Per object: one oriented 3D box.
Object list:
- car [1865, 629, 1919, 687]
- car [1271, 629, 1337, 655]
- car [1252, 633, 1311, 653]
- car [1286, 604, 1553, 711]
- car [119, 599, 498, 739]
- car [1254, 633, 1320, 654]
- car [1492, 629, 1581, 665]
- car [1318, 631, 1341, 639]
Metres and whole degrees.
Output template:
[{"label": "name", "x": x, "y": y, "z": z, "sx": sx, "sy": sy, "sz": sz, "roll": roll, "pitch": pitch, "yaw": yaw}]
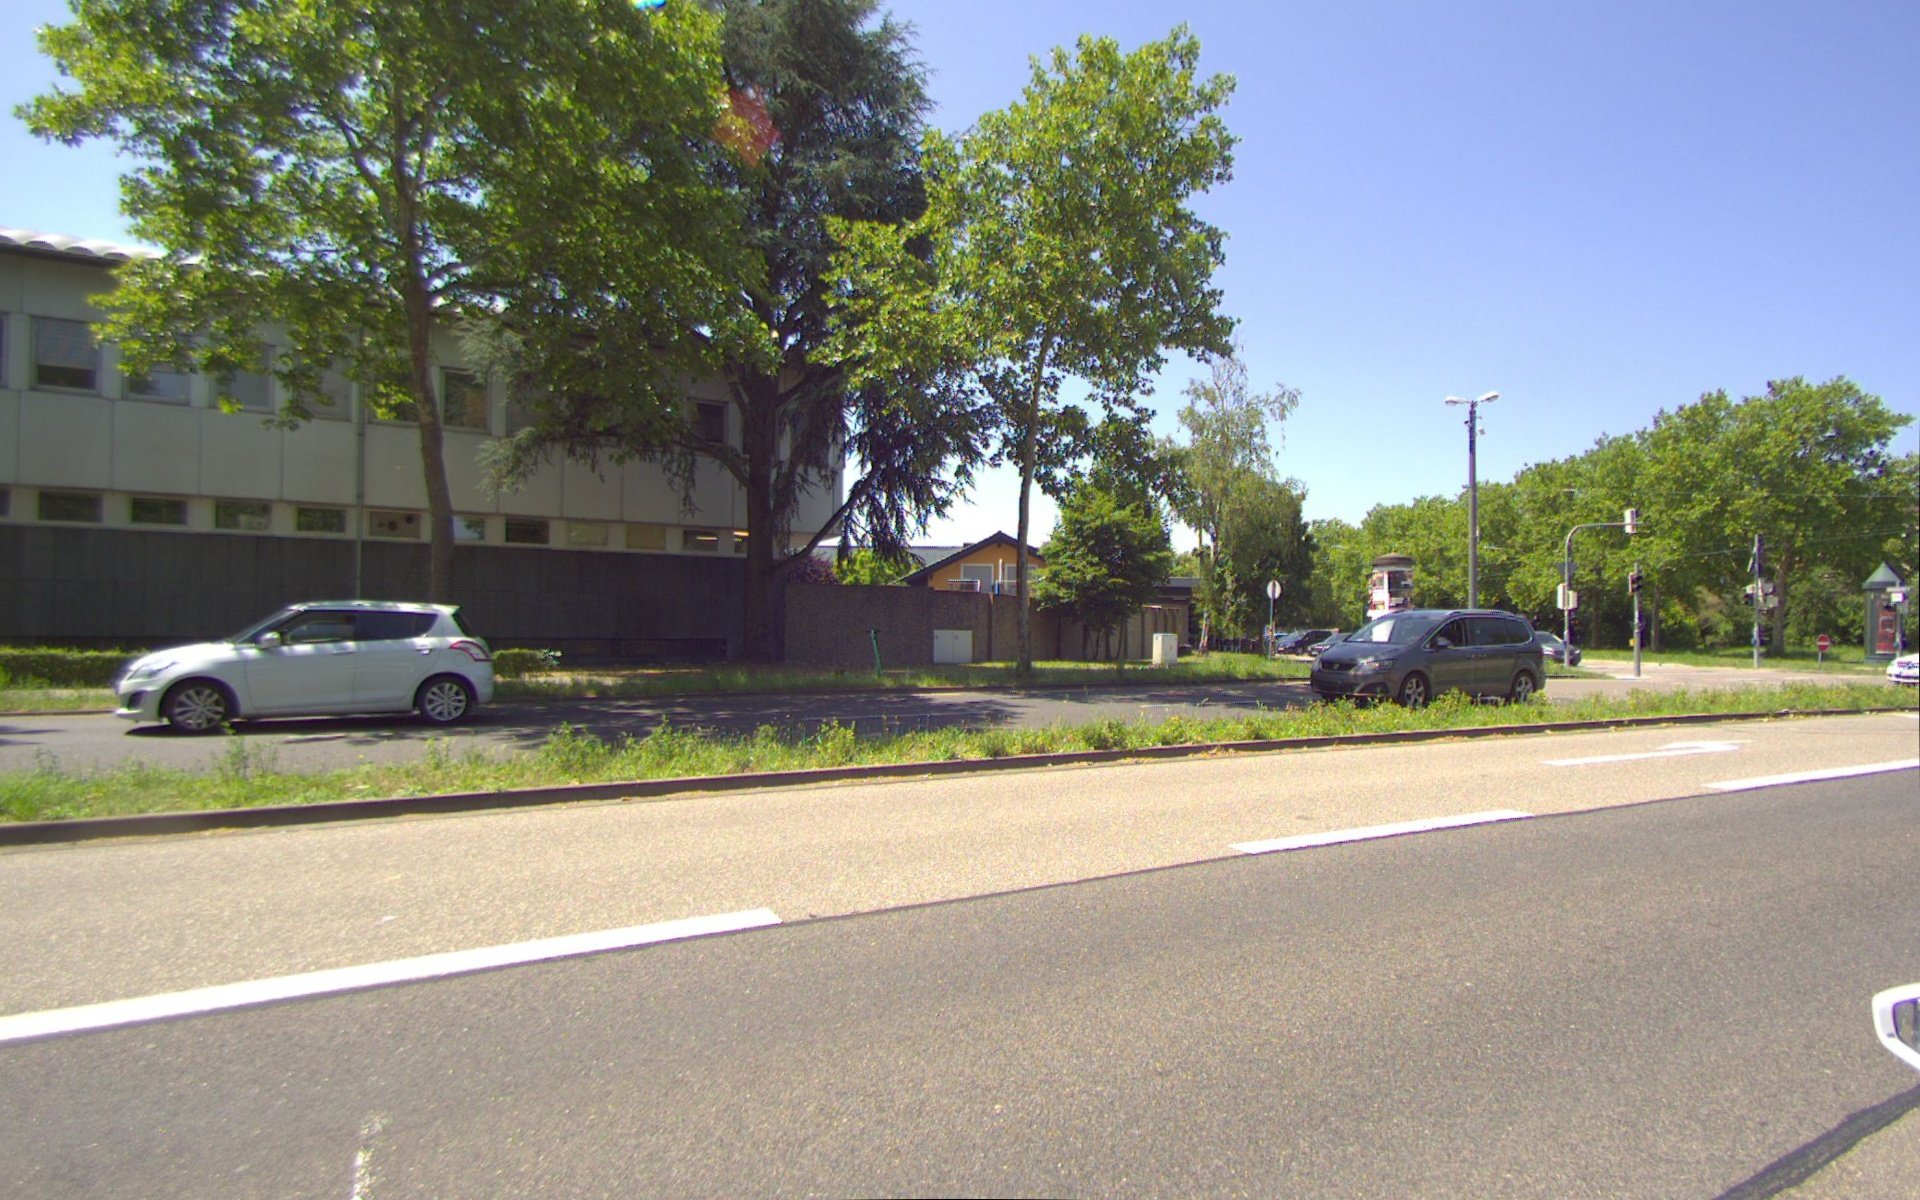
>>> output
[{"label": "car", "x": 25.955, "y": 1.469, "z": 25.476, "sx": 4.460, "sy": 1.437, "sz": 1.859, "roll": 1, "pitch": -1, "yaw": -3}, {"label": "car", "x": 22.920, "y": 2.783, "z": 66.892, "sx": 4.138, "sy": 1.672, "sz": 1.773, "roll": 1, "pitch": -2, "yaw": -26}, {"label": "car", "x": 24.360, "y": 3.247, "z": 76.154, "sx": 4.004, "sy": 1.442, "sz": 1.936, "roll": 1, "pitch": -2, "yaw": -24}, {"label": "car", "x": 8.175, "y": 0.973, "z": 17.818, "sx": 4.562, "sy": 1.678, "sz": 1.942, "roll": 1, "pitch": -1, "yaw": -28}, {"label": "car", "x": -7.725, "y": 0.781, "z": 12.276, "sx": 3.631, "sy": 1.478, "sz": 1.723, "roll": 1, "pitch": -2, "yaw": -30}, {"label": "car", "x": 22.807, "y": 3.019, "z": 70.109, "sx": 4.330, "sy": 1.430, "sz": 1.866, "roll": 1, "pitch": -2, "yaw": -26}, {"label": "car", "x": 25.030, "y": 1.995, "z": 43.747, "sx": 1.729, "sy": 1.476, "sz": 3.994, "roll": 0, "pitch": -1, "yaw": 2}, {"label": "car", "x": 49.807, "y": 4.725, "z": 135.360, "sx": 2.667, "sy": 1.007, "sz": 1.009, "roll": 1, "pitch": -1, "yaw": -1}]
